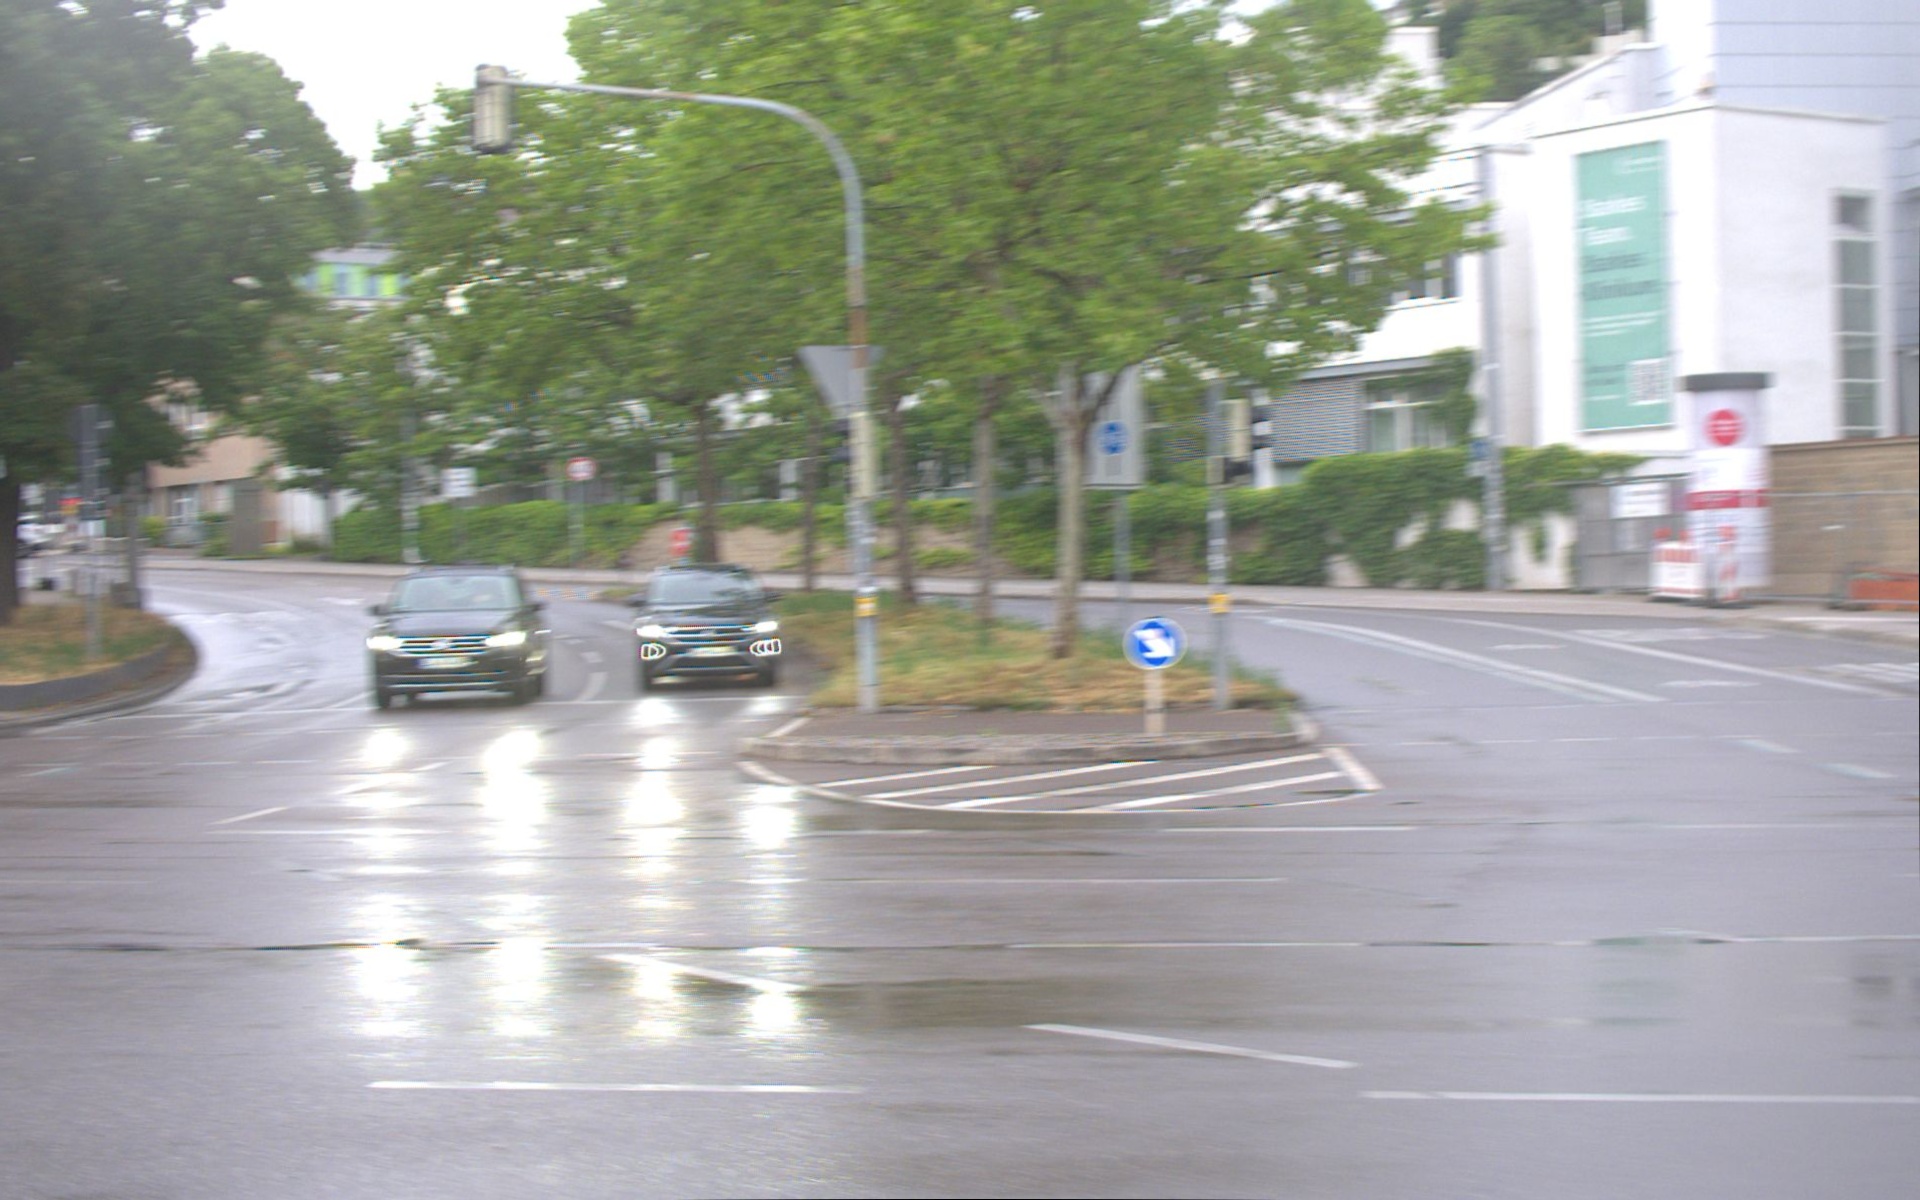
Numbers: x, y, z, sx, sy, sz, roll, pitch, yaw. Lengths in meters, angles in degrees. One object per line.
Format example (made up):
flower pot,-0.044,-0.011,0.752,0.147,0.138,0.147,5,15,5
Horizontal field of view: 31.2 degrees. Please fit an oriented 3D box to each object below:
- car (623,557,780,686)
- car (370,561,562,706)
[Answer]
car,-3.408,0.243,44.737,1.788,1.579,4.001,-1,1,-8
car,-5.871,0.352,41.299,1.867,1.559,4.277,-1,1,-3
